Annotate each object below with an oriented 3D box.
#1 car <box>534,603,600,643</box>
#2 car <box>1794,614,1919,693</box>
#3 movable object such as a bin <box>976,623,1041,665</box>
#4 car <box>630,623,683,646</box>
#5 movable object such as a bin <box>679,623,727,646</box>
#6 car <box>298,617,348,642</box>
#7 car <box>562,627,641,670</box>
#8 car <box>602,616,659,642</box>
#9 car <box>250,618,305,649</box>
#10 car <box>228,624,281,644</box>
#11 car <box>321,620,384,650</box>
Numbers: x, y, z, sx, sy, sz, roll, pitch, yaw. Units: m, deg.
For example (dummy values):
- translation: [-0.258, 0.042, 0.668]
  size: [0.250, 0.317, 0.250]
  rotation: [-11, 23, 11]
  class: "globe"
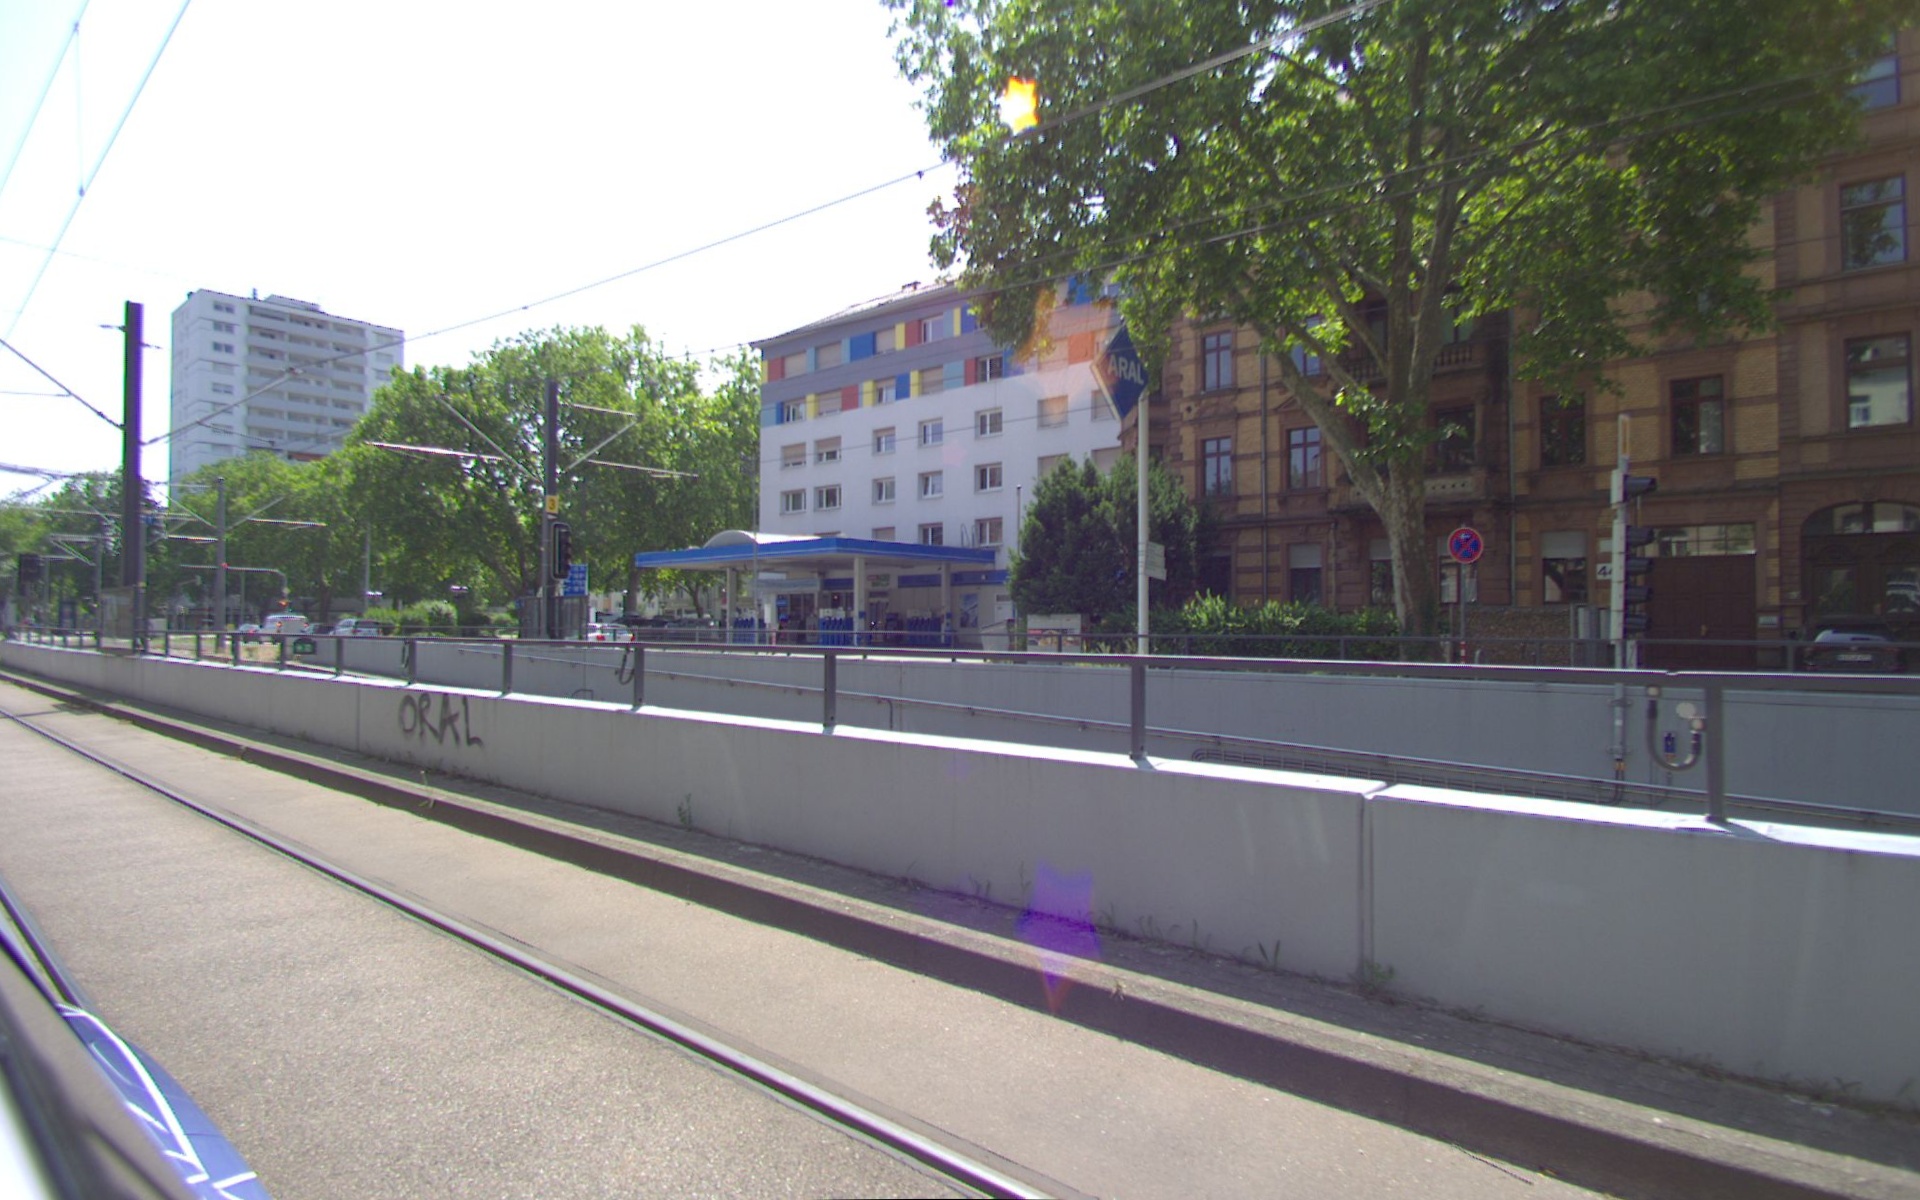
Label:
- translation: [-25.778, 1.468, 66.304]
  size: [4.978, 2.410, 1.828]
  rotation: [0, 2, 40]
  class: "car"
- translation: [18.001, 1.031, 20.382]
  size: [1.649, 1.436, 3.449]
  rotation: [-1, -2, 37]
  class: "car"
- translation: [1.670, 1.489, 34.720]
  size: [1.468, 1.395, 1.765]
  rotation: [-1, -2, 39]
  class: "movable object such as a bin"
- translation: [-21.701, 2.463, 72.337]
  size: [3.998, 1.538, 1.843]
  rotation: [-2, -2, 41]
  class: "car"
- translation: [-18.579, 2.511, 73.194]
  size: [1.985, 1.623, 2.689]
  rotation: [-2, -2, 41]
  class: "movable object such as a bin"
- translation: [-39.458, 1.839, 62.672]
  size: [3.779, 1.431, 1.579]
  rotation: [-1, -4, 41]
  class: "car"
- translation: [-13.805, 1.826, 38.883]
  size: [1.525, 1.573, 3.883]
  rotation: [1, -2, -42]
  class: "car"
- translation: [-22.859, 2.010, 70.209]
  size: [3.998, 1.733, 1.973]
  rotation: [-1, -2, 41]
  class: "car"
- translation: [-45.462, 2.217, 67.420]
  size: [4.801, 2.006, 1.759]
  rotation: [-2, -3, 40]
  class: "car"
- translation: [-49.902, 2.402, 71.580]
  size: [4.624, 1.369, 1.927]
  rotation: [-2, -3, 40]
  class: "car"
- translation: [-34.919, 2.019, 58.125]
  size: [4.601, 1.638, 1.827]
  rotation: [-1, -3, 42]
  class: "car"
